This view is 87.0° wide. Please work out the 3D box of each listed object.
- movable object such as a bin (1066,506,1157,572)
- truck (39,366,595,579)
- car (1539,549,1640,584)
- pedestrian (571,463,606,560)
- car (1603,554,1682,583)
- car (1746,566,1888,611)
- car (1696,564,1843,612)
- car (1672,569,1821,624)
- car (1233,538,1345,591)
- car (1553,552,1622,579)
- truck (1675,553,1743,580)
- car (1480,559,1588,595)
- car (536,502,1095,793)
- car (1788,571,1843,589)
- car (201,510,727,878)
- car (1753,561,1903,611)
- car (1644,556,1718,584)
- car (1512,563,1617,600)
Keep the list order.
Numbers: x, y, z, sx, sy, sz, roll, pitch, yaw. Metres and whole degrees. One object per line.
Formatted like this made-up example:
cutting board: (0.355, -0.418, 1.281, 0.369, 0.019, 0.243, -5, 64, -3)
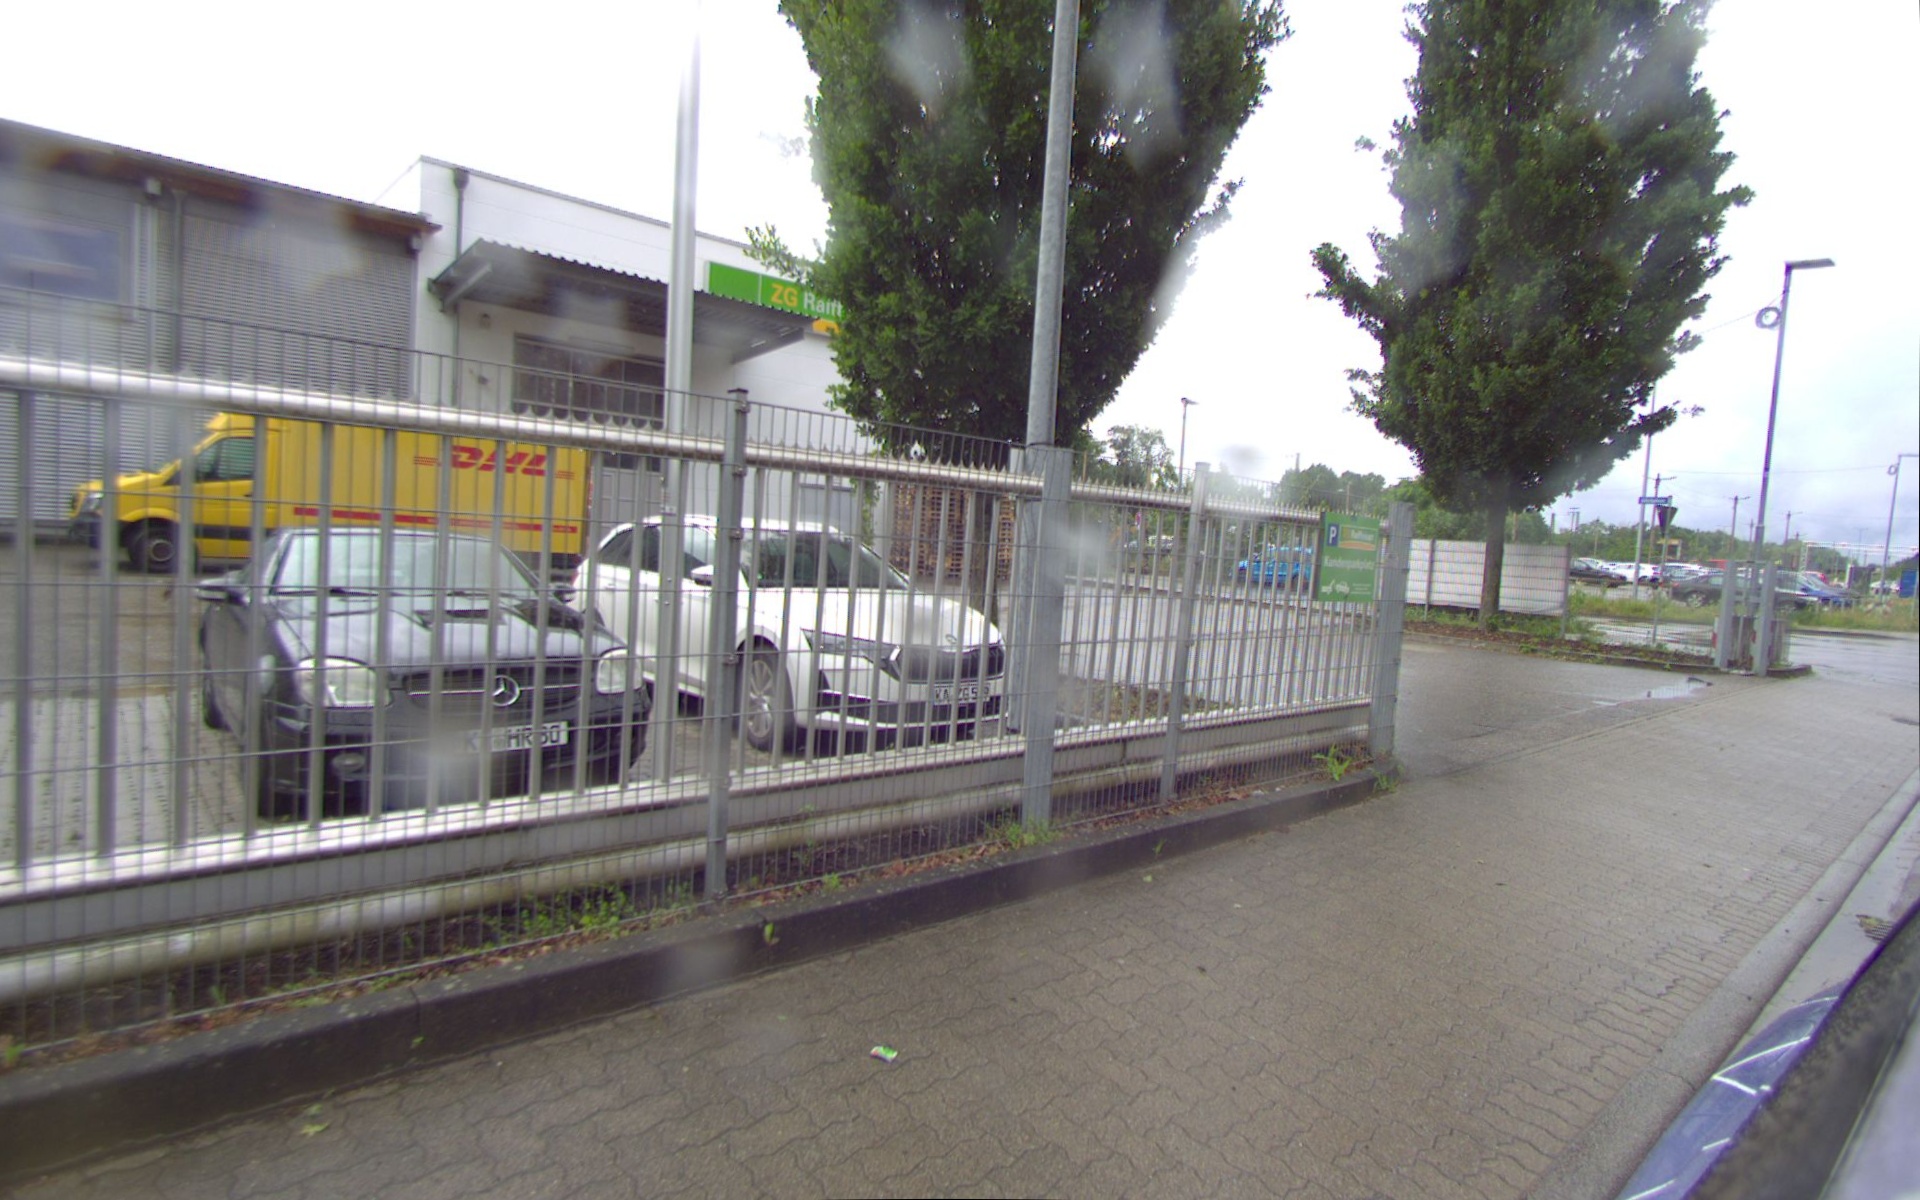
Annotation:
movable object such as a bin: (7.451, -3.051, 50.129, 1.965, 3.028, 3.996, 0, 5, -41)
truck: (-10.097, -1.873, 16.638, 7.281, 2.690, 2.309, 0, 6, -39)
car: (36.578, -1.965, 58.917, 4.622, 1.736, 1.988, 6, 6, 44)
pedestrian: (-6.890, -1.642, 18.773, 0.425, 1.738, 0.457, 1, 6, -38)
car: (45.203, -2.131, 67.114, 1.893, 1.500, 3.845, -1, 9, -38)
car: (36.554, -0.542, 43.261, 1.788, 1.534, 4.307, -2, 6, -40)
car: (31.840, -0.514, 39.912, 1.857, 1.527, 4.193, -2, 6, -40)
car: (29.515, -0.190, 38.035, 4.218, 1.415, 1.863, 10, 9, 41)
car: (13.804, -1.517, 42.594, 1.800, 1.945, 3.996, 1, 5, -42)
car: (48.689, -2.702, 78.606, 1.801, 1.677, 4.071, -2, 9, -42)
truck: (78.570, -3.535, 106.208, 2.116, 2.395, 5.303, 0, 7, -41)
car: (27.453, -1.128, 48.507, 1.965, 1.425, 3.998, -2, 6, -40)
car: (-1.417, 0.084, 7.707, 1.858, 1.480, 4.713, 0, 5, -42)
car: (91.179, -2.177, 107.945, 1.891, 1.507, 4.080, -2, 8, -39)
car: (-3.007, 0.209, 5.628, 1.591, 1.271, 3.946, 0, 5, -42)
car: (39.174, -0.703, 45.778, 2.088, 1.754, 4.700, -1, 7, -36)
car: (52.939, -2.210, 74.365, 1.754, 1.601, 3.919, -1, 9, -38)
car: (30.099, -0.961, 50.453, 1.965, 1.503, 3.998, -2, 6, -40)
